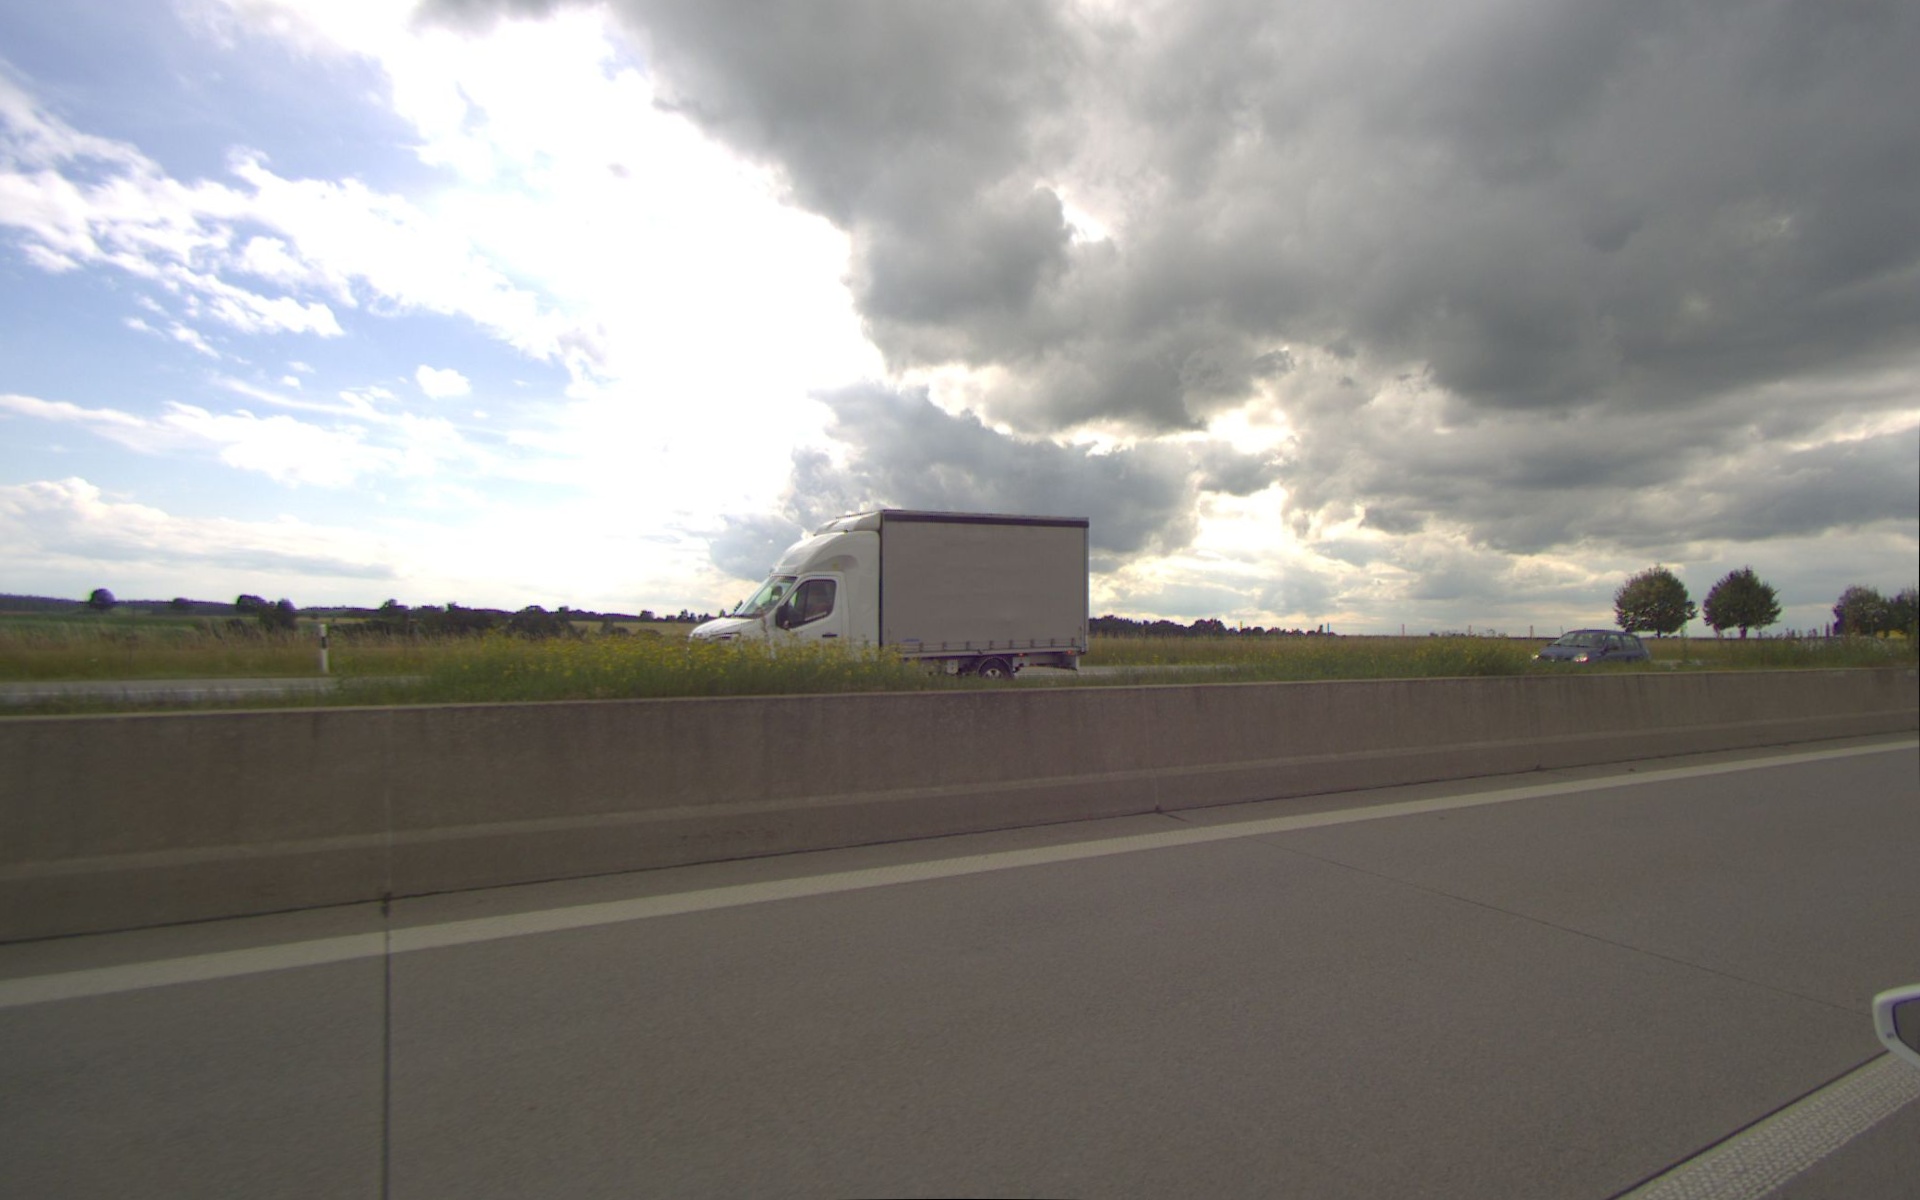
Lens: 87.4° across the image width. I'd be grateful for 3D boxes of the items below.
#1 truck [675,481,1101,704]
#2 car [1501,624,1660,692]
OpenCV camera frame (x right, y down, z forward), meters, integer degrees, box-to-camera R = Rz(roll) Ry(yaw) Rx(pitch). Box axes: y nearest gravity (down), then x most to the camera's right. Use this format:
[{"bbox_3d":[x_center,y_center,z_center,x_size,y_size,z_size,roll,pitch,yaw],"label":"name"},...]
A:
[{"bbox_3d":[-1.126,0.009,17.942,7.209,3.372,2.347,2,0,-29],"label":"truck"},{"bbox_3d":[16.859,1.559,27.268,4.066,1.633,1.984,2,0,-30],"label":"car"}]
